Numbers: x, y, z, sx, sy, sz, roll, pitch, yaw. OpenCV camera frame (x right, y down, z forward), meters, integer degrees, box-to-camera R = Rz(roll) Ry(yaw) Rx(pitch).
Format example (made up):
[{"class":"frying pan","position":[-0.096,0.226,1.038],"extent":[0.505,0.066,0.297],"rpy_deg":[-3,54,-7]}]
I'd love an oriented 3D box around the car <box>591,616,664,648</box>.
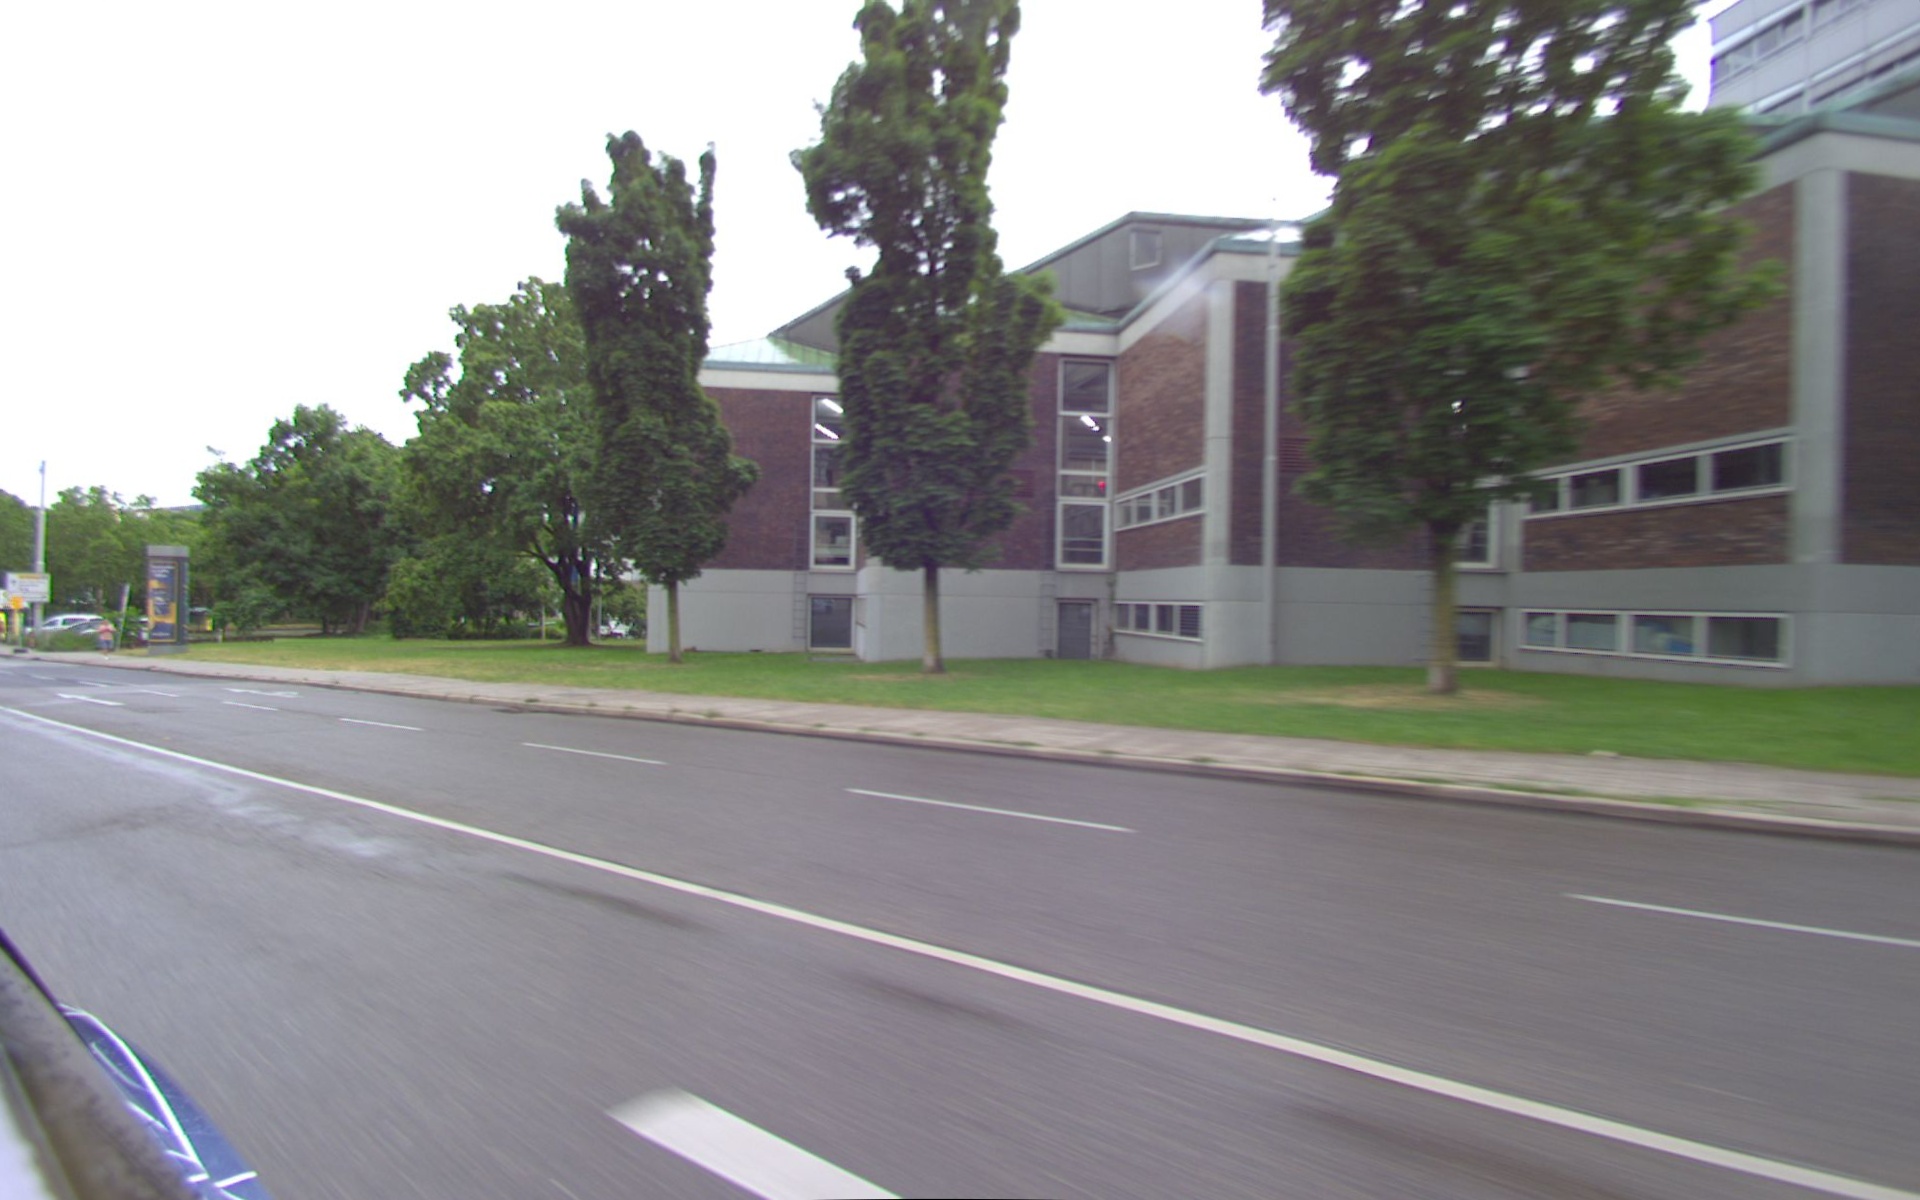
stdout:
[{"class":"car","position":[-31.967,3.021,97.371],"extent":[2.738,2.782,6.128],"rpy_deg":[0,0,41]}]

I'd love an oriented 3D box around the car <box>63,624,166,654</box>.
[{"class":"car","position":[-47.984,2.209,57.475],"extent":[4.468,1.621,1.866],"rpy_deg":[0,0,4]}]

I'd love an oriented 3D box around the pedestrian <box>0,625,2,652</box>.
[{"class":"pedestrian","position":[-61.126,2.469,64.015],"extent":[0.640,1.708,0.623],"rpy_deg":[0,0,30]}]

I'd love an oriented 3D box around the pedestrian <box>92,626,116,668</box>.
[{"class":"pedestrian","position":[-35.403,1.927,41.850],"extent":[0.914,1.699,0.662],"rpy_deg":[0,0,45]}]

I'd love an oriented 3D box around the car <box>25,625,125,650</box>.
[{"class":"car","position":[-55.260,2.336,63.287],"extent":[4.304,1.359,1.911],"rpy_deg":[-1,0,-23]}]

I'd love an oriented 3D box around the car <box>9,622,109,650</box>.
[{"class":"car","position":[-60.811,2.435,68.383],"extent":[4.646,1.768,2.021],"rpy_deg":[-1,0,-10]}]
